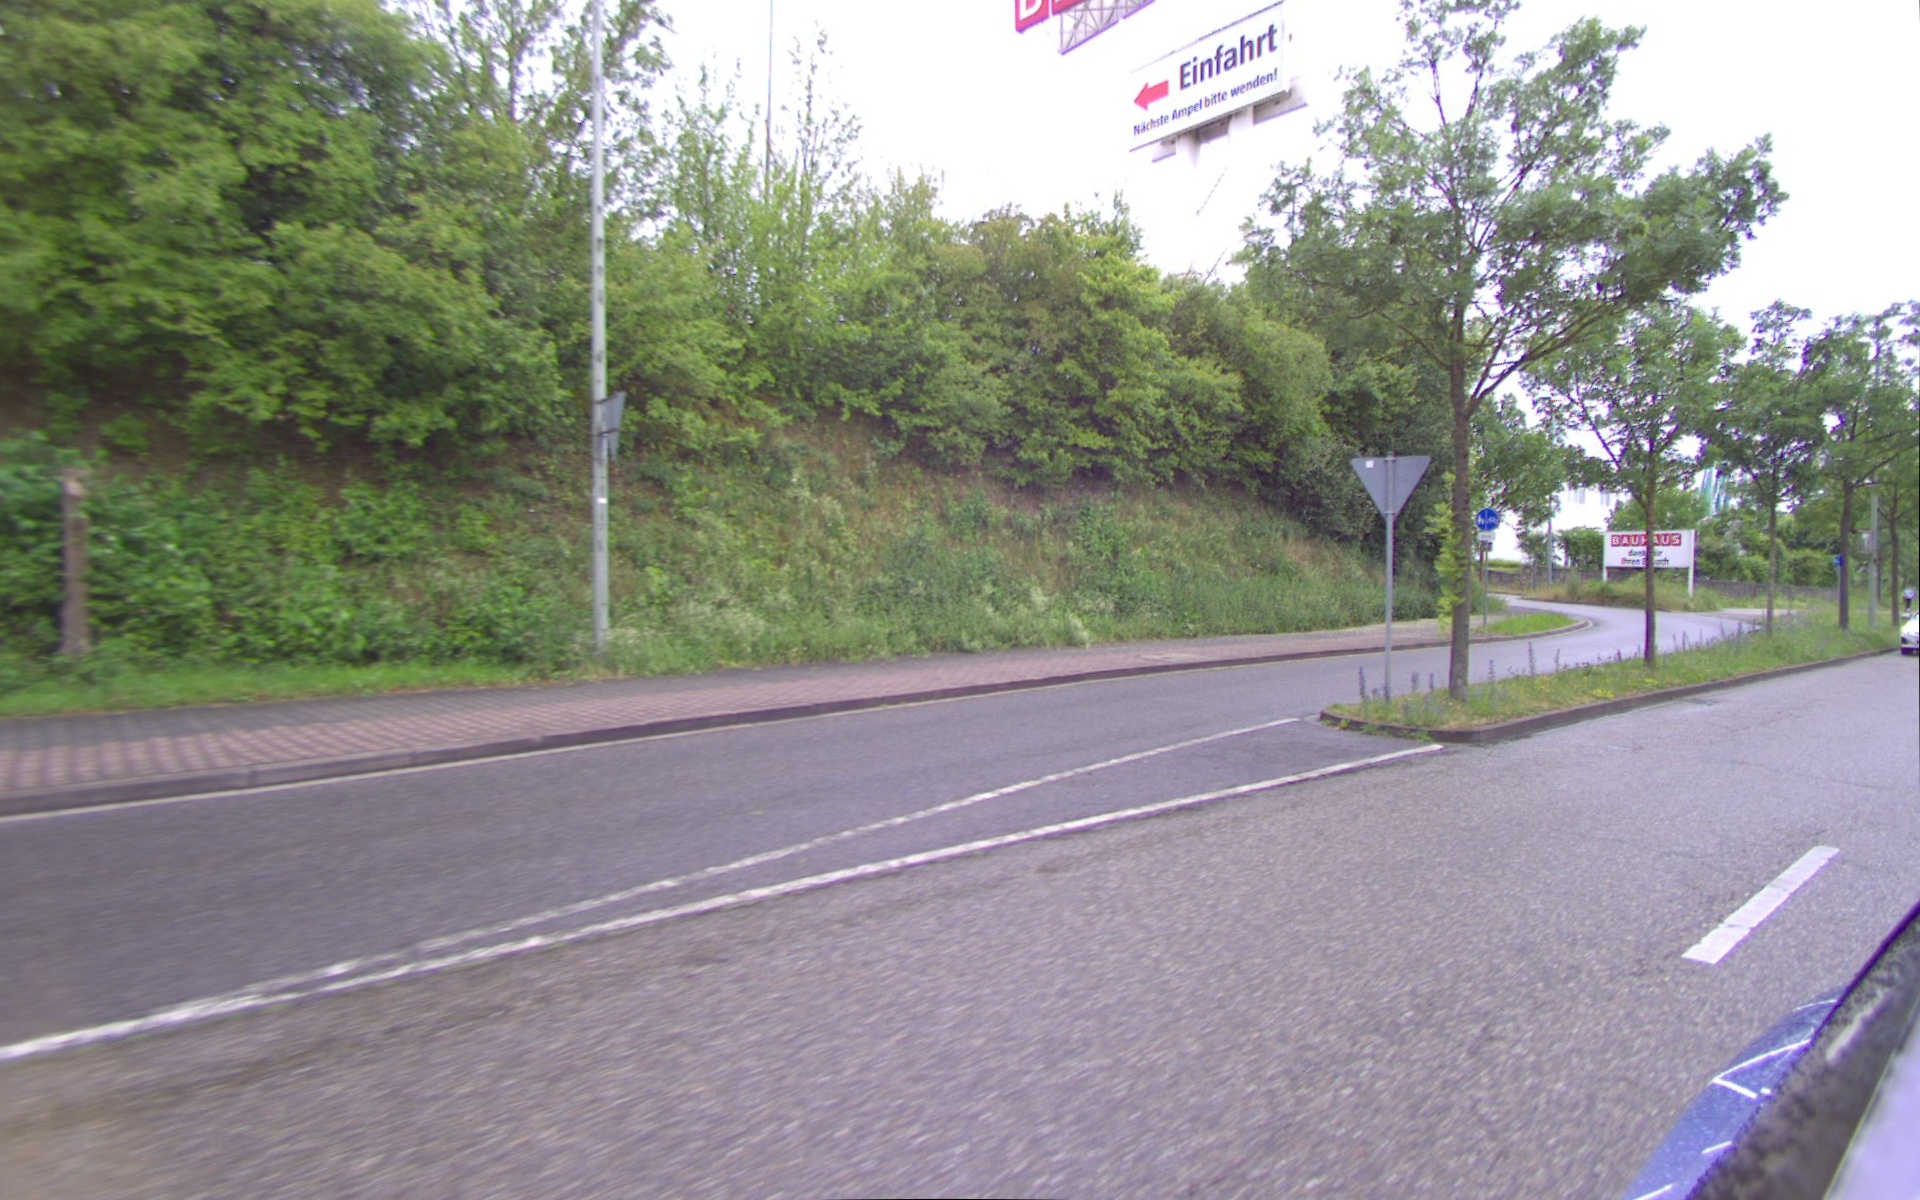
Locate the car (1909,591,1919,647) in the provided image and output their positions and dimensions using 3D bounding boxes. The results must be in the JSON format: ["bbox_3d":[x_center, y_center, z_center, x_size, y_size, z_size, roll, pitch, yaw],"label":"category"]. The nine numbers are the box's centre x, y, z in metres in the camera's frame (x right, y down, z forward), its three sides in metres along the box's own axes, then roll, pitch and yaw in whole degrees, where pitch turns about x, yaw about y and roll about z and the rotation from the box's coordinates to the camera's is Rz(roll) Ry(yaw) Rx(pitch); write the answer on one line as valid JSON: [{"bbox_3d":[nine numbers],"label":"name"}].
[{"bbox_3d":[27.846,0.507,27.956,3.928,1.500,1.864,0,1,-39],"label":"car"}]
